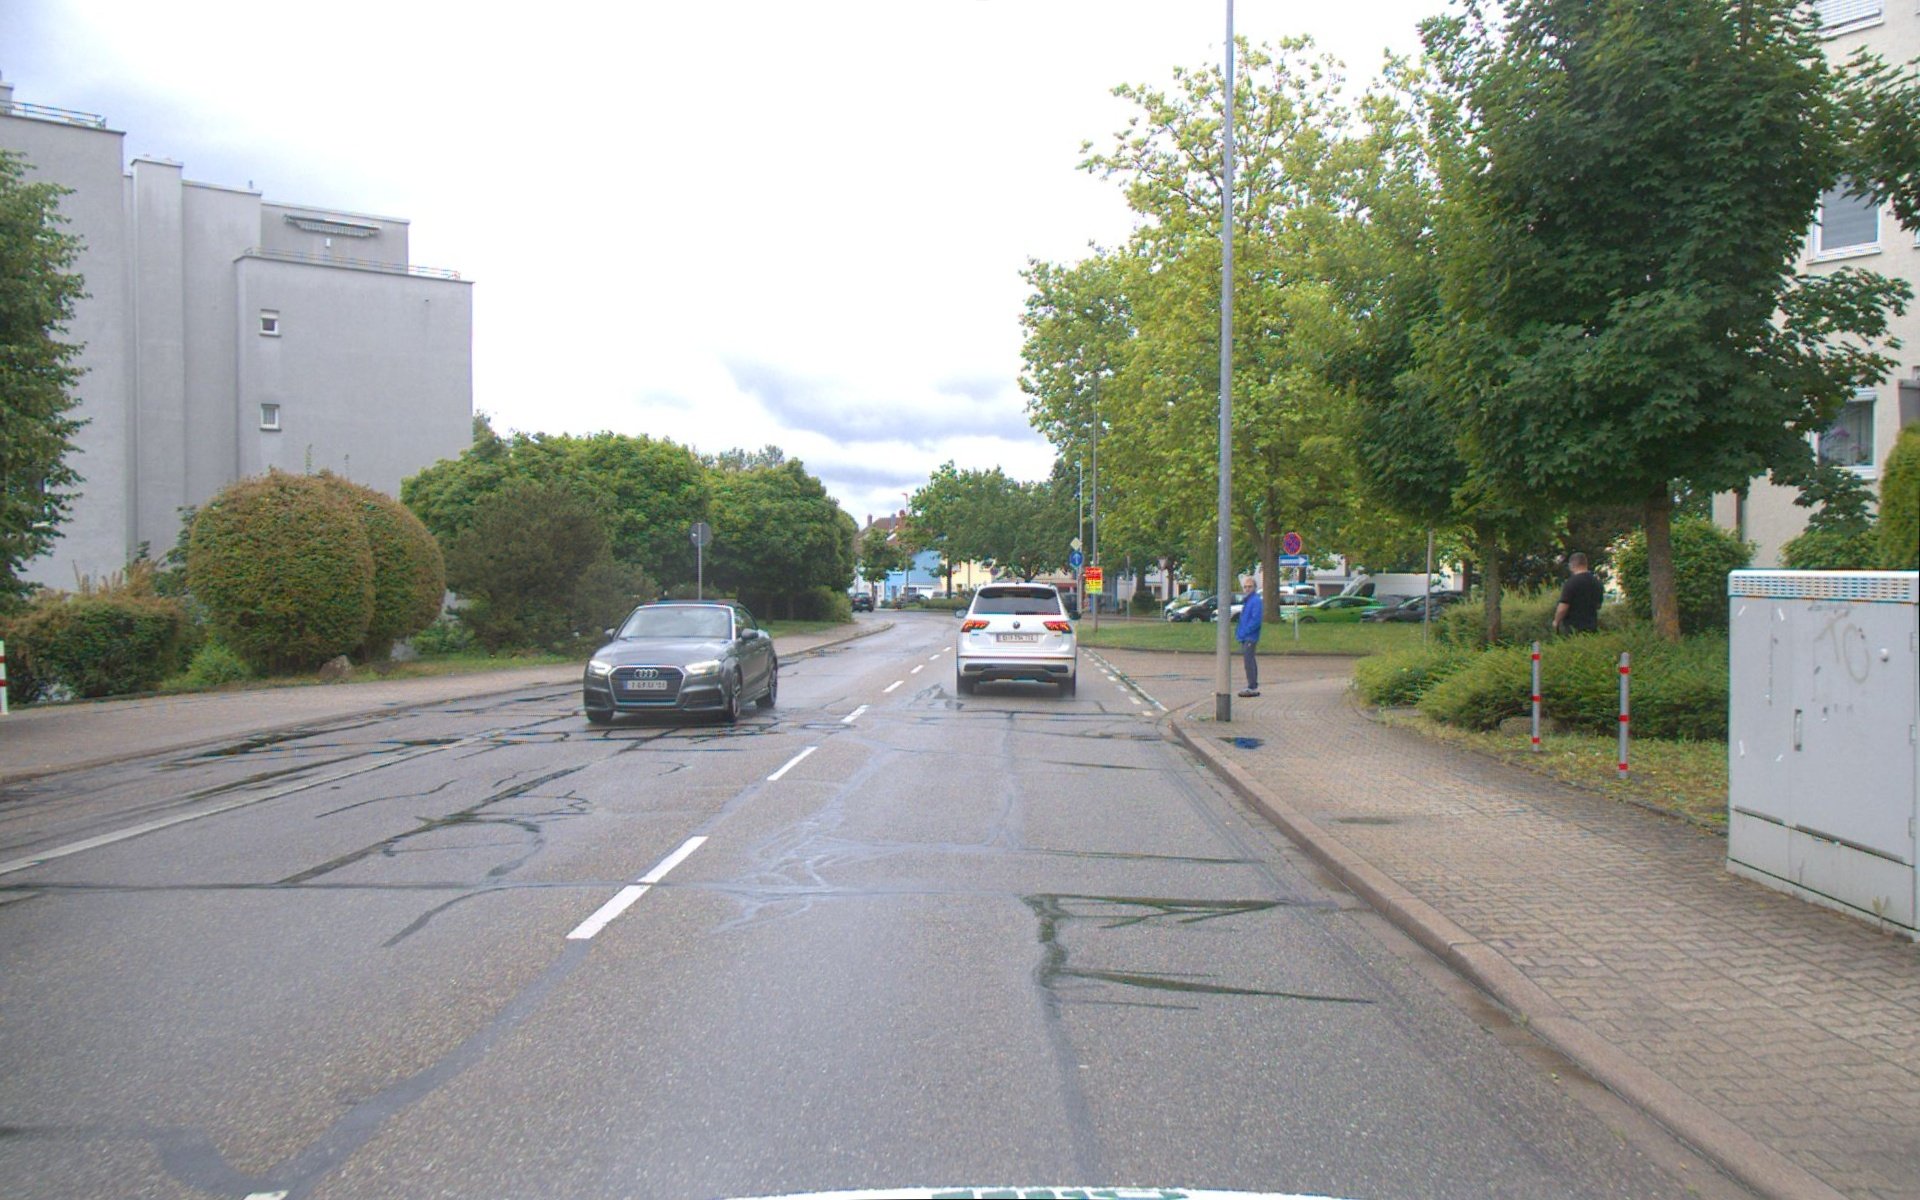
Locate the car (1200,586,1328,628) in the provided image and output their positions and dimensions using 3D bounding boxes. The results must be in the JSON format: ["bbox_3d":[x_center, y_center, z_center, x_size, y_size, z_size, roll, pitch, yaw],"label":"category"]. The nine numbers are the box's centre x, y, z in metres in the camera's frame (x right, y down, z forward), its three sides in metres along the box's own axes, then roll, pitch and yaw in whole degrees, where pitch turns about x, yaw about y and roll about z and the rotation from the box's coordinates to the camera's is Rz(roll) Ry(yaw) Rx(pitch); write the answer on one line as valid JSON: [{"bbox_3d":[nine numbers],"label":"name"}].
[{"bbox_3d":[11.453,0.253,62.494,4.482,1.468,1.763,-1,0,-4],"label":"car"}]

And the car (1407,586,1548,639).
[{"bbox_3d":[16.761,0.409,53.745,4.188,1.655,1.766,-1,0,12],"label":"car"}]

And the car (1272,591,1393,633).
[{"bbox_3d":[13.418,0.418,59.718,3.930,1.468,1.763,-1,0,-4],"label":"car"}]

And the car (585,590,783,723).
[{"bbox_3d":[-3.301,0.619,20.489,1.639,1.468,4.001,1,0,2],"label":"car"}]

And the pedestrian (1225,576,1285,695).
[{"bbox_3d":[4.261,0.504,23.891,0.579,1.695,0.773,1,0,-14],"label":"pedestrian"}]

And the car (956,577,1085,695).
[{"bbox_3d":[0.948,0.499,25.769,1.826,1.679,4.001,-1,0,2],"label":"car"}]

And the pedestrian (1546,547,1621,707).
[{"bbox_3d":[7.193,0.306,19.097,0.601,1.803,0.671,0,0,0],"label":"pedestrian"}]

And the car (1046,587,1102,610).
[{"bbox_3d":[8.629,-0.133,124.795,3.953,1.751,1.901,0,0,-35],"label":"car"}]

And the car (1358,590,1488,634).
[{"bbox_3d":[15.774,0.394,56.432,3.930,1.395,1.763,-1,0,-4],"label":"car"}]

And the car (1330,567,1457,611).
[{"bbox_3d":[21.214,-0.550,81.005,5.712,2.049,1.996,-1,0,-9],"label":"car"}]

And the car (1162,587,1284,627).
[{"bbox_3d":[10.332,0.261,65.078,4.482,1.468,1.763,-1,0,-4],"label":"car"}]

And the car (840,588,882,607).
[{"bbox_3d":[-7.743,-0.176,128.766,1.968,1.445,3.969,0,0,-24],"label":"car"}]

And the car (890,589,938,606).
[{"bbox_3d":[-4.034,-0.237,144.909,3.957,1.411,1.653,0,0,-37],"label":"car"}]

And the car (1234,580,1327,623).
[{"bbox_3d":[14.422,0.055,74.628,1.971,1.914,4.173,0,0,-28],"label":"car"}]
